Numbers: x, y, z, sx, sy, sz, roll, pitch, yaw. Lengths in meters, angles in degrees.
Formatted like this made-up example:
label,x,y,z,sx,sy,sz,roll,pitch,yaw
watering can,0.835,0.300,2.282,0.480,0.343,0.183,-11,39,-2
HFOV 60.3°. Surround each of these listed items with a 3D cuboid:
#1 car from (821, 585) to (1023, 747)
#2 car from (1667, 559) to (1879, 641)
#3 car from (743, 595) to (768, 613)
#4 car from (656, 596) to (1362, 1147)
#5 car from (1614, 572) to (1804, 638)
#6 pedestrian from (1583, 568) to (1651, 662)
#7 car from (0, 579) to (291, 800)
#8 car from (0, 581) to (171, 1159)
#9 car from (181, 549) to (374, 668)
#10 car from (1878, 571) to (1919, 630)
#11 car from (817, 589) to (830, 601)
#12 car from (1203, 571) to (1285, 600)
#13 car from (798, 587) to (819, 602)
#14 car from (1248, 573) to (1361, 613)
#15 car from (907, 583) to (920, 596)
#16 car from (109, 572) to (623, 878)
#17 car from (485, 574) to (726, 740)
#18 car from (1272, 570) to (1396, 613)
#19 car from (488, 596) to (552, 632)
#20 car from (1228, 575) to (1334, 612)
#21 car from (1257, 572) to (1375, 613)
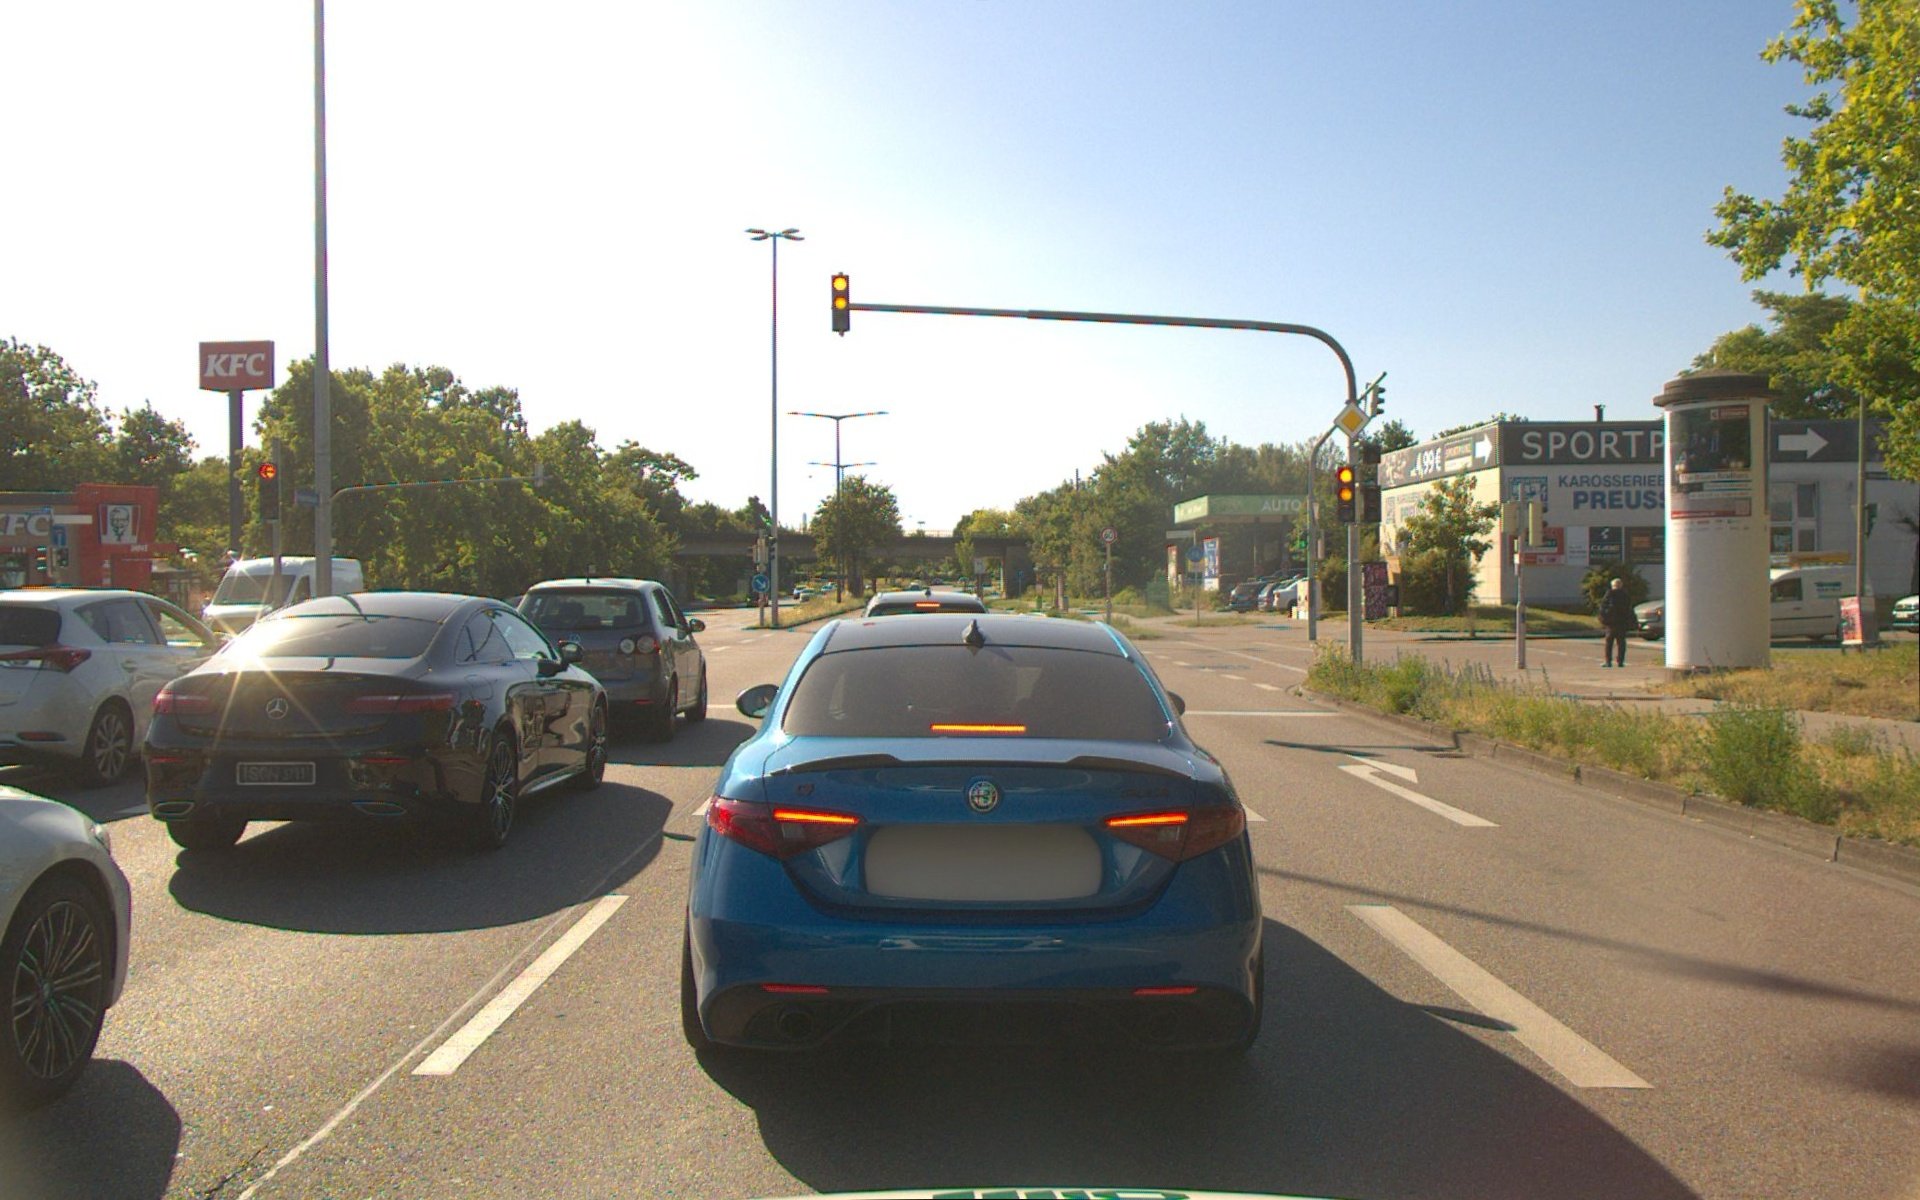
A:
label,x,y,z,sx,sy,sz,roll,pitch,yaw
car,-0.410,0.606,17.225,1.813,1.443,4.401,1,0,-2
car,19.630,-0.022,40.043,4.293,1.833,1.764,-1,2,-2
car,-18.660,0.366,150.825,1.723,1.516,4.477,-2,0,-1
car,0.070,0.736,6.597,1.857,1.443,4.401,1,0,-2
car,19.601,0.114,43.378,4.201,1.576,1.764,-1,2,-2
pedestrian,12.723,0.290,32.048,0.906,1.765,0.938,1,-1,-1
car,-7.118,0.611,13.473,1.723,1.516,4.195,1,0,-2
car,-3.342,0.690,3.051,1.749,1.516,4.401,1,0,-2
car,-16.091,0.185,39.391,1.981,2.489,5.822,-3,0,1
car,26.733,-0.053,43.689,3.960,1.516,1.782,-2,0,-3
car,-19.112,-0.714,231.829,1.583,1.586,3.357,1,0,-1
car,16.732,-0.849,97.585,4.457,1.516,1.765,-2,0,1
car,-15.379,-0.540,168.300,1.723,1.516,3.836,-2,0,-1
car,14.636,-0.297,70.330,4.397,1.479,1.858,-2,0,1
car,-6.970,-1.601,247.046,1.853,1.847,3.999,1,0,-1
car,-3.436,0.640,10.556,1.760,1.516,4.474,1,0,-2
car,-3.621,0.544,17.654,1.723,1.516,4.401,1,0,-2
car,14.615,-0.320,64.797,4.397,1.479,1.858,-2,0,1
car,-20.138,0.622,75.882,1.723,1.516,4.477,-3,0,-1
car,14.408,-0.288,74.377,4.397,1.479,1.858,-2,0,1
car,14.492,-0.320,67.574,4.397,1.479,1.858,-2,0,1
